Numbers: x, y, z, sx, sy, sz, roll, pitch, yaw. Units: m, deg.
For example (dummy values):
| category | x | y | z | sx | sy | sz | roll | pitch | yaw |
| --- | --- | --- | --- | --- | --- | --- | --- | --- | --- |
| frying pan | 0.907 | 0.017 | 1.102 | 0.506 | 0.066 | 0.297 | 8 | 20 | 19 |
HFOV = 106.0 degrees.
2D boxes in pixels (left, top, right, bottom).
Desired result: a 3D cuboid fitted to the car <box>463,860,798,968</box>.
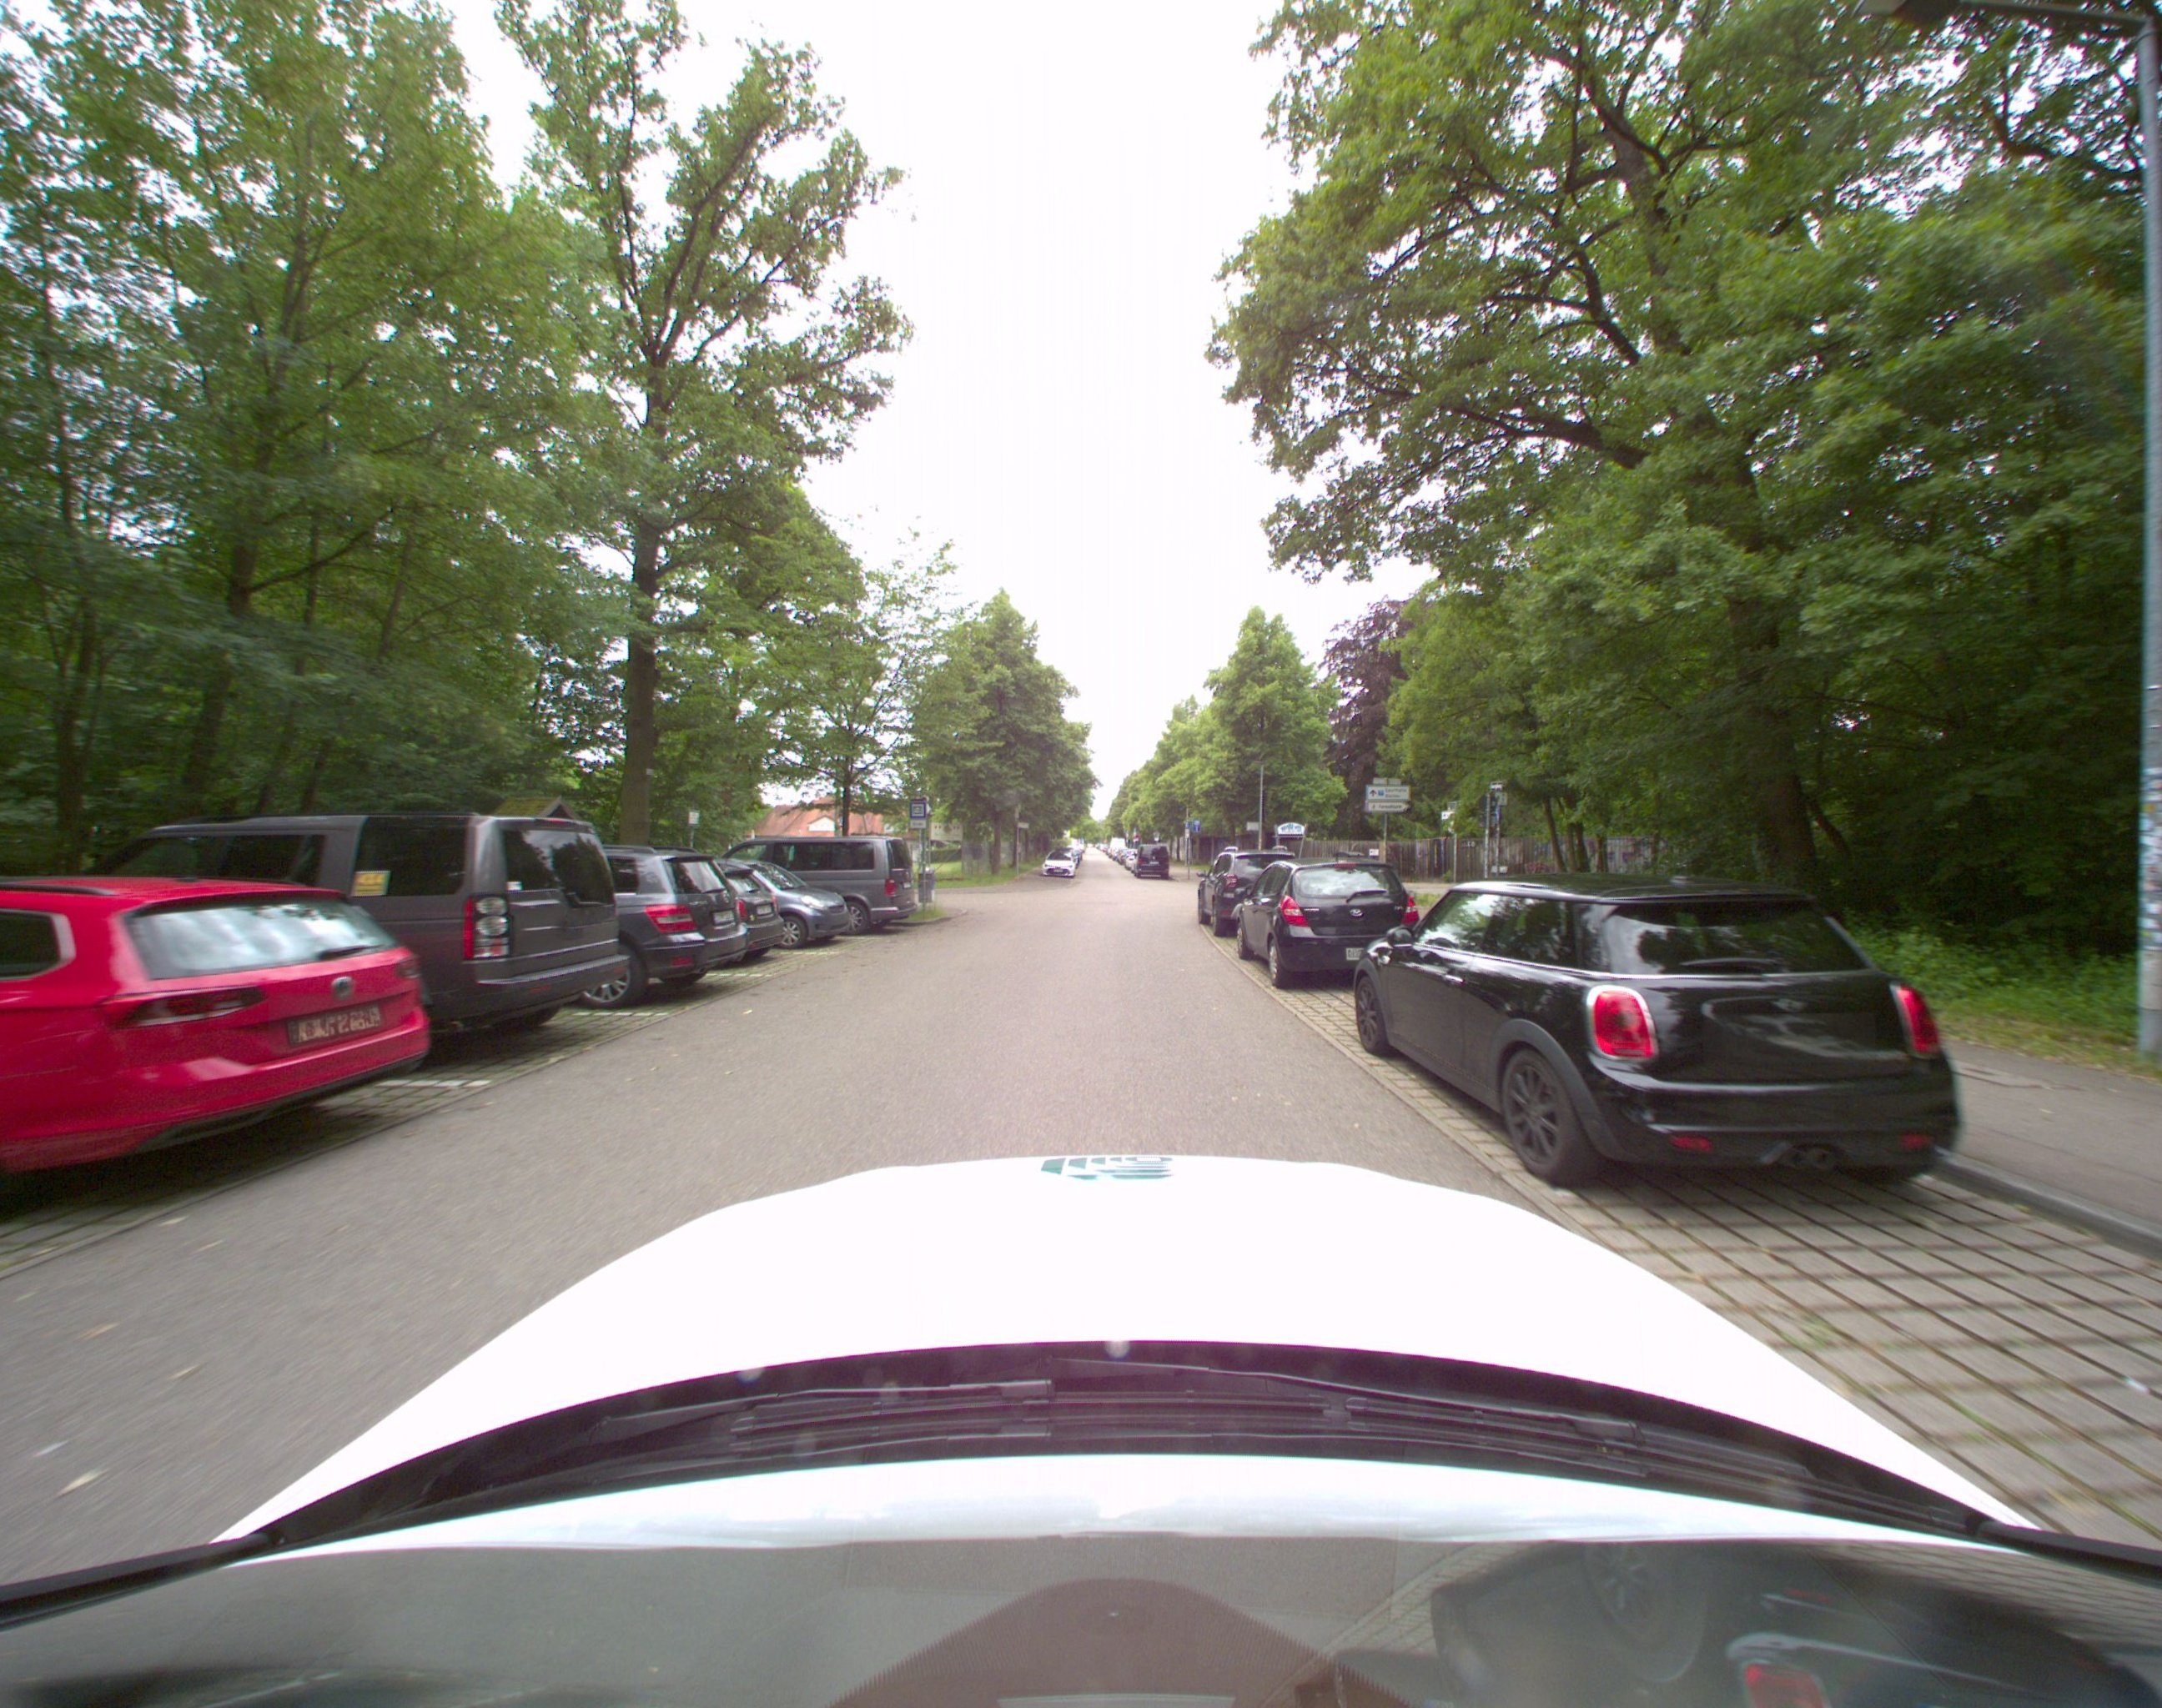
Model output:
| category | x | y | z | sx | sy | sz | roll | pitch | yaw |
| --- | --- | --- | --- | --- | --- | --- | --- | --- | --- |
| car | -6.508 | 0.826 | 12.062 | 3.972 | 1.430 | 1.721 | 0 | 0 | 1 |

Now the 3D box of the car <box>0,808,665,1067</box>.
| category | x | y | z | sx | sy | sz | roll | pitch | yaw |
| --- | --- | --- | --- | --- | --- | --- | --- | --- | --- |
| car | -5.983 | 0.607 | 6.857 | 3.974 | 1.862 | 1.813 | 0 | 0 | 0 |

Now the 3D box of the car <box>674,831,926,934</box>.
| category | x | y | z | sx | sy | sz | roll | pitch | yaw |
| --- | --- | --- | --- | --- | --- | --- | --- | --- | --- |
| car | -5.625 | 0.559 | 16.734 | 4.489 | 1.978 | 1.890 | 0 | -1 | -1 |

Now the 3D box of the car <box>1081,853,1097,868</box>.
| category | x | y | z | sx | sy | sz | roll | pitch | yaw |
| --- | --- | --- | --- | --- | --- | --- | --- | --- | --- |
| car | 0.855 | 0.748 | 89.833 | 1.590 | 1.559 | 3.191 | -2 | 0 | -3 |

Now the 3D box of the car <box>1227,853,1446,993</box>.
| category | x | y | z | sx | sy | sz | roll | pitch | yaw |
| --- | --- | --- | --- | --- | --- | --- | --- | --- | --- |
| car | 3.099 | 0.738 | 10.808 | 1.729 | 1.495 | 4.236 | 0 | 0 | 2 |

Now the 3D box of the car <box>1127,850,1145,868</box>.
| category | x | y | z | sx | sy | sz | roll | pitch | yaw |
| --- | --- | --- | --- | --- | --- | --- | --- | --- | --- |
| car | 4.553 | 0.401 | 67.833 | 1.463 | 1.531 | 3.190 | 0 | 0 | 2 |

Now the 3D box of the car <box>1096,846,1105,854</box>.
| category | x | y | z | sx | sy | sz | roll | pitch | yaw |
| --- | --- | --- | --- | --- | --- | --- | --- | --- | --- |
| car | 4.797 | -0.968 | 199.992 | 1.889 | 1.706 | 4.068 | 0 | -1 | 4 |

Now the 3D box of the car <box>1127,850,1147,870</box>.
| category | x | y | z | sx | sy | sz | roll | pitch | yaw |
| --- | --- | --- | --- | --- | --- | --- | --- | --- | --- |
| car | 4.315 | 0.430 | 62.690 | 1.463 | 1.481 | 3.190 | 0 | 0 | 2 |

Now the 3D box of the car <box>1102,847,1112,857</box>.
| category | x | y | z | sx | sy | sz | roll | pitch | yaw |
| --- | --- | --- | --- | --- | --- | --- | --- | --- | --- |
| car | 5.352 | -0.436 | 166.442 | 1.984 | 2.014 | 4.005 | 0 | -1 | 4 |

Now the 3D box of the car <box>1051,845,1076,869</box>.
| category | x | y | z | sx | sy | sz | roll | pitch | yaw |
| --- | --- | --- | --- | --- | --- | --- | --- | --- | --- |
| car | -1.266 | 0.214 | 59.393 | 1.686 | 1.596 | 3.998 | 2 | 0 | -1 |

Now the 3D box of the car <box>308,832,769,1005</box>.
| category | x | y | z | sx | sy | sz | roll | pitch | yaw |
| --- | --- | --- | --- | --- | --- | --- | --- | --- | --- |
| car | -5.916 | 0.667 | 9.294 | 3.975 | 1.765 | 1.823 | 0 | 0 | -1 |

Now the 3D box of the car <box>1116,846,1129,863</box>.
| category | x | y | z | sx | sy | sz | roll | pitch | yaw |
| --- | --- | --- | --- | --- | --- | --- | --- | --- | --- |
| car | 4.730 | 0.045 | 92.594 | 1.463 | 1.967 | 3.190 | 0 | 0 | 2 |

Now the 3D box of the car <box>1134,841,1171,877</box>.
| category | x | y | z | sx | sy | sz | roll | pitch | yaw |
| --- | --- | --- | --- | --- | --- | --- | --- | --- | --- |
| car | 4.226 | 0.284 | 48.362 | 1.980 | 2.013 | 4.110 | 0 | 0 | 2 |

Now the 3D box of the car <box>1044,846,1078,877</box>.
| category | x | y | z | sx | sy | sz | roll | pitch | yaw |
| --- | --- | --- | --- | --- | --- | --- | --- | --- | --- |
| car | -1.119 | 0.405 | 45.625 | 1.760 | 1.596 | 4.213 | 2 | 0 | -2 |

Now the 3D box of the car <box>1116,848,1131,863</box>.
| category | x | y | z | sx | sy | sz | roll | pitch | yaw |
| --- | --- | --- | --- | --- | --- | --- | --- | --- | --- |
| car | 4.285 | 0.152 | 82.485 | 1.463 | 1.531 | 3.190 | 0 | 0 | 2 |

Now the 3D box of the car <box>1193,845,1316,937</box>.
| category | x | y | z | sx | sy | sz | roll | pitch | yaw |
| --- | --- | --- | --- | --- | --- | --- | --- | --- | --- |
| car | 3.368 | 0.660 | 16.612 | 1.729 | 1.633 | 4.377 | 0 | 0 | 2 |

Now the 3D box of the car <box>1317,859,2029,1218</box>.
| category | x | y | z | sx | sy | sz | roll | pitch | yaw |
| --- | --- | --- | --- | --- | --- | --- | --- | --- | --- |
| car | 3.046 | 0.758 | 5.559 | 1.729 | 1.432 | 4.504 | 0 | 0 | 2 |

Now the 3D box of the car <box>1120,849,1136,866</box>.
| category | x | y | z | sx | sy | sz | roll | pitch | yaw |
| --- | --- | --- | --- | --- | --- | --- | --- | --- | --- |
| car | 4.430 | 0.325 | 76.726 | 1.463 | 1.531 | 3.190 | 0 | 0 | 2 |

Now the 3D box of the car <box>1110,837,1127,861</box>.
| category | x | y | z | sx | sy | sz | roll | pitch | yaw |
| --- | --- | --- | --- | --- | --- | --- | --- | --- | --- |
| car | 4.928 | -0.641 | 106.275 | 2.176 | 3.015 | 4.899 | 0 | 0 | 2 |

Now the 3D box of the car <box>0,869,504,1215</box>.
| category | x | y | z | sx | sy | sz | roll | pitch | yaw |
| --- | --- | --- | --- | --- | --- | --- | --- | --- | --- |
| car | -5.815 | 0.847 | 4.454 | 3.976 | 1.476 | 1.779 | 0 | 0 | -2 |

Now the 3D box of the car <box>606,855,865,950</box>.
| category | x | y | z | sx | sy | sz | roll | pitch | yaw |
| --- | --- | --- | --- | --- | --- | --- | --- | --- | --- |
| car | -6.031 | 0.819 | 14.539 | 3.798 | 1.512 | 1.811 | -1 | 0 | 3 |

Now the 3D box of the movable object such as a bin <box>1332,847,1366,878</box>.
| category | x | y | z | sx | sy | sz | roll | pitch | yaw |
| --- | --- | --- | --- | --- | --- | --- | --- | --- | --- |
| movable object such as a bin | 12.766 | 0.418 | 38.798 | 1.293 | 1.442 | 1.066 | 1 | -1 | -43 |
